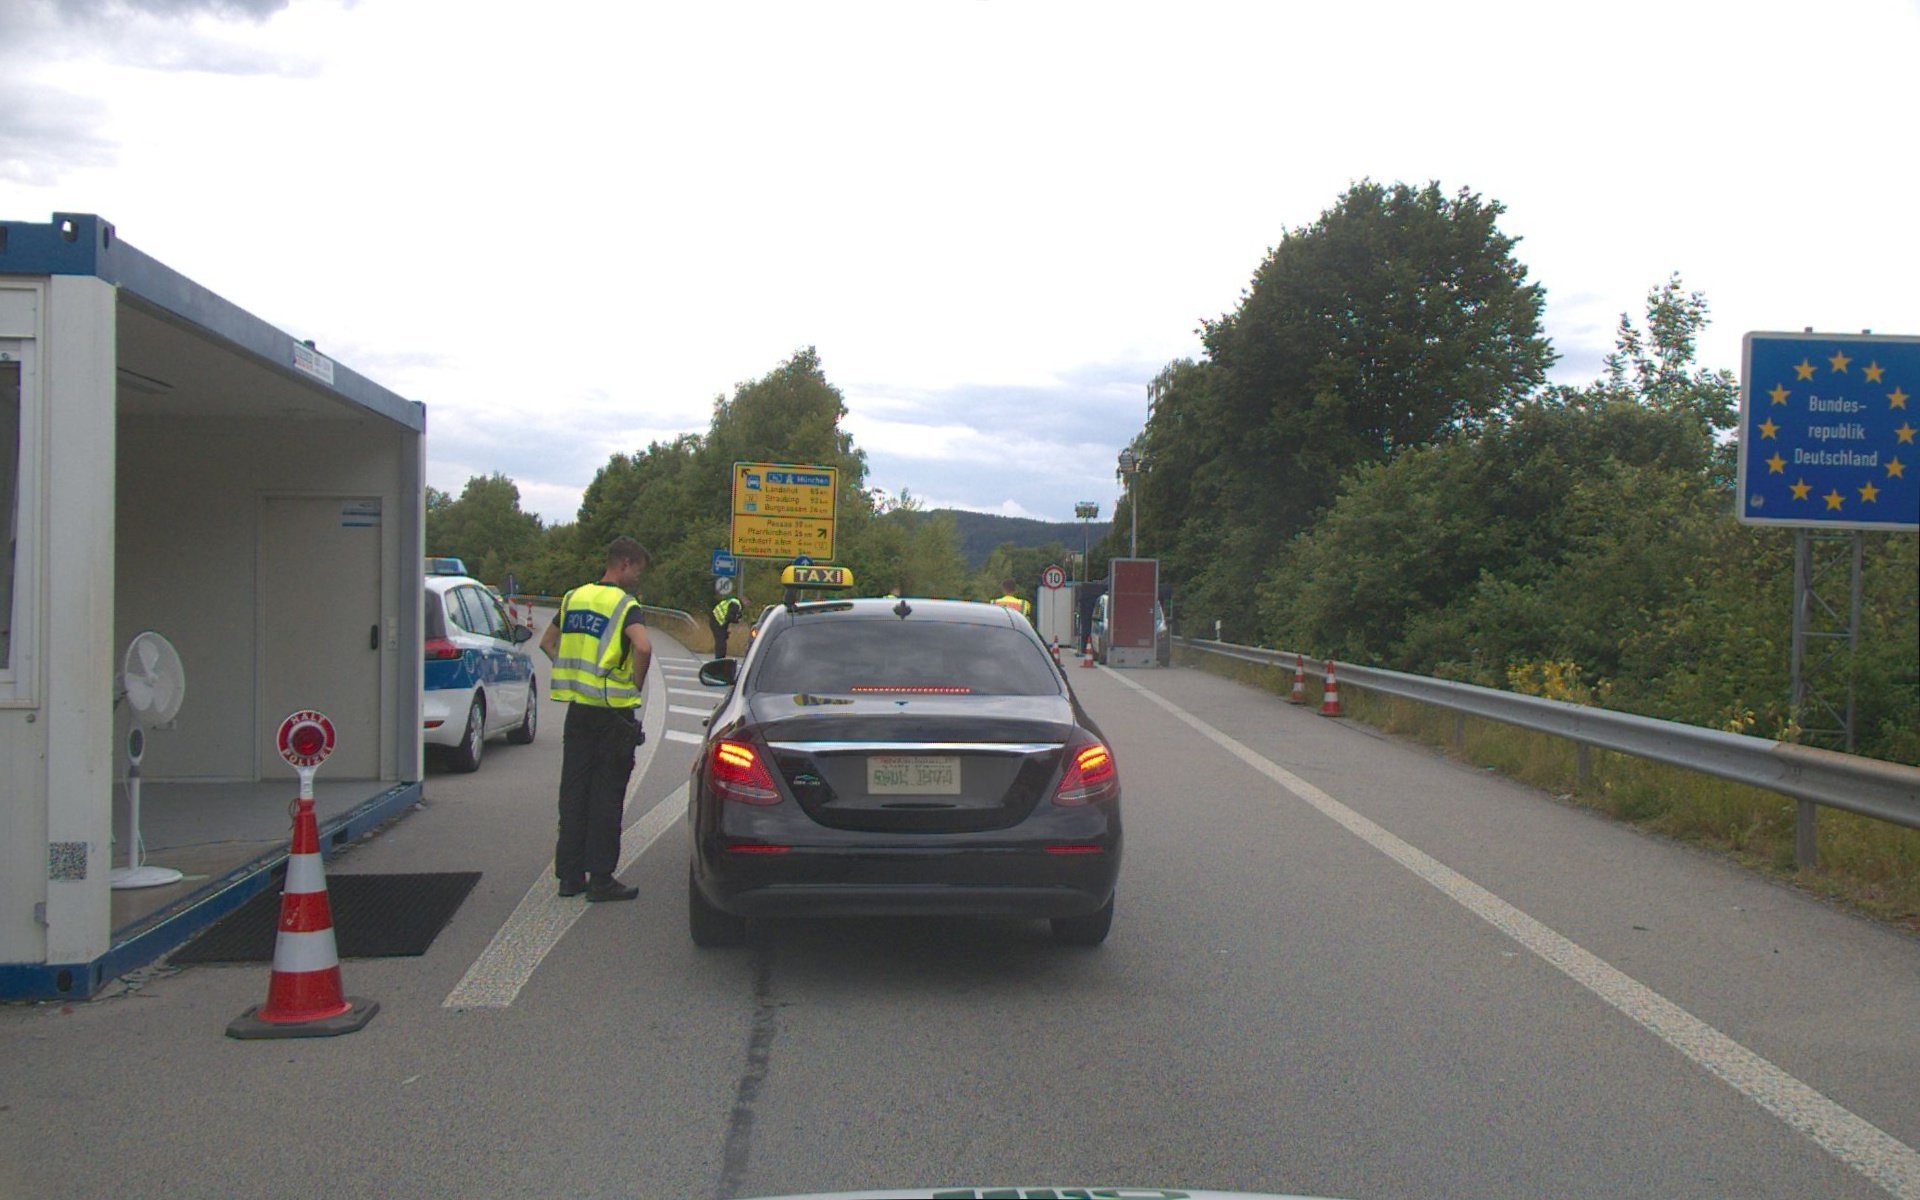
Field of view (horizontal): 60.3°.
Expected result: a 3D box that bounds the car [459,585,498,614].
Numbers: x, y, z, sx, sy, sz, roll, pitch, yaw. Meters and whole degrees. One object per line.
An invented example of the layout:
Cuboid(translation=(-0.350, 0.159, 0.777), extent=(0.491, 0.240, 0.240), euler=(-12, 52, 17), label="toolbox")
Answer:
Cuboid(translation=(-25.904, -0.031, 88.902), extent=(1.827, 1.524, 4.234), euler=(1, 0, -19), label="car")

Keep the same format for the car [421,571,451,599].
Cuboid(translation=(-42.961, -1.223, 135.528), extent=(1.831, 2.261, 4.224), euler=(1, 0, -24), label="car")

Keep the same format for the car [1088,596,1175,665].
Cuboid(translation=(4.677, 0.797, 45.840), extent=(1.877, 1.707, 5.083), euler=(2, 0, 1), label="car")

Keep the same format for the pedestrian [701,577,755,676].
Cuboid(translation=(-4.271, 0.485, 30.540), extent=(0.893, 1.800, 0.911), euler=(1, 0, -4), label="pedestrian")

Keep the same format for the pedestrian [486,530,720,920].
Cuboid(translation=(-1.713, 0.560, 7.980), extent=(0.747, 1.748, 0.815), euler=(0, 0, 36), label="pedestrian")

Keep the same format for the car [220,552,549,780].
Cuboid(translation=(-4.996, 0.513, 14.961), extent=(1.832, 1.774, 4.004), euler=(1, 0, -5), label="car")

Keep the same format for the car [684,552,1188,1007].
Cuboid(translation=(-0.275, 0.641, 8.170), extent=(1.819, 1.623, 4.370), euler=(1, 0, -5), label="car")

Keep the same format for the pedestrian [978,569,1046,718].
Cuboid(translation=(0.670, 0.543, 21.150), extent=(0.795, 1.862, 0.810), euler=(0, 0, 7), label="pedestrian")

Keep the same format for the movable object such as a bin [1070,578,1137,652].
Cuboid(translation=(4.707, 0.483, 54.685), extent=(1.952, 2.320, 4.168), euler=(1, 0, 1), label="movable object such as a bin")

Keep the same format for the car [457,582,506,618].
Cuboid(translation=(-21.126, -0.020, 73.135), extent=(1.824, 1.524, 4.242), euler=(1, 0, -14), label="car")

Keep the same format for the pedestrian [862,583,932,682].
Cuboid(translation=(-1.132, 0.567, 29.526), extent=(0.900, 1.727, 0.903), euler=(1, -1, -32), label="pedestrian")

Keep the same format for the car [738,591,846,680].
Cuboid(translation=(-3.044, 0.606, 30.711), extent=(1.818, 1.524, 4.253), euler=(1, 0, -4), label="car")
